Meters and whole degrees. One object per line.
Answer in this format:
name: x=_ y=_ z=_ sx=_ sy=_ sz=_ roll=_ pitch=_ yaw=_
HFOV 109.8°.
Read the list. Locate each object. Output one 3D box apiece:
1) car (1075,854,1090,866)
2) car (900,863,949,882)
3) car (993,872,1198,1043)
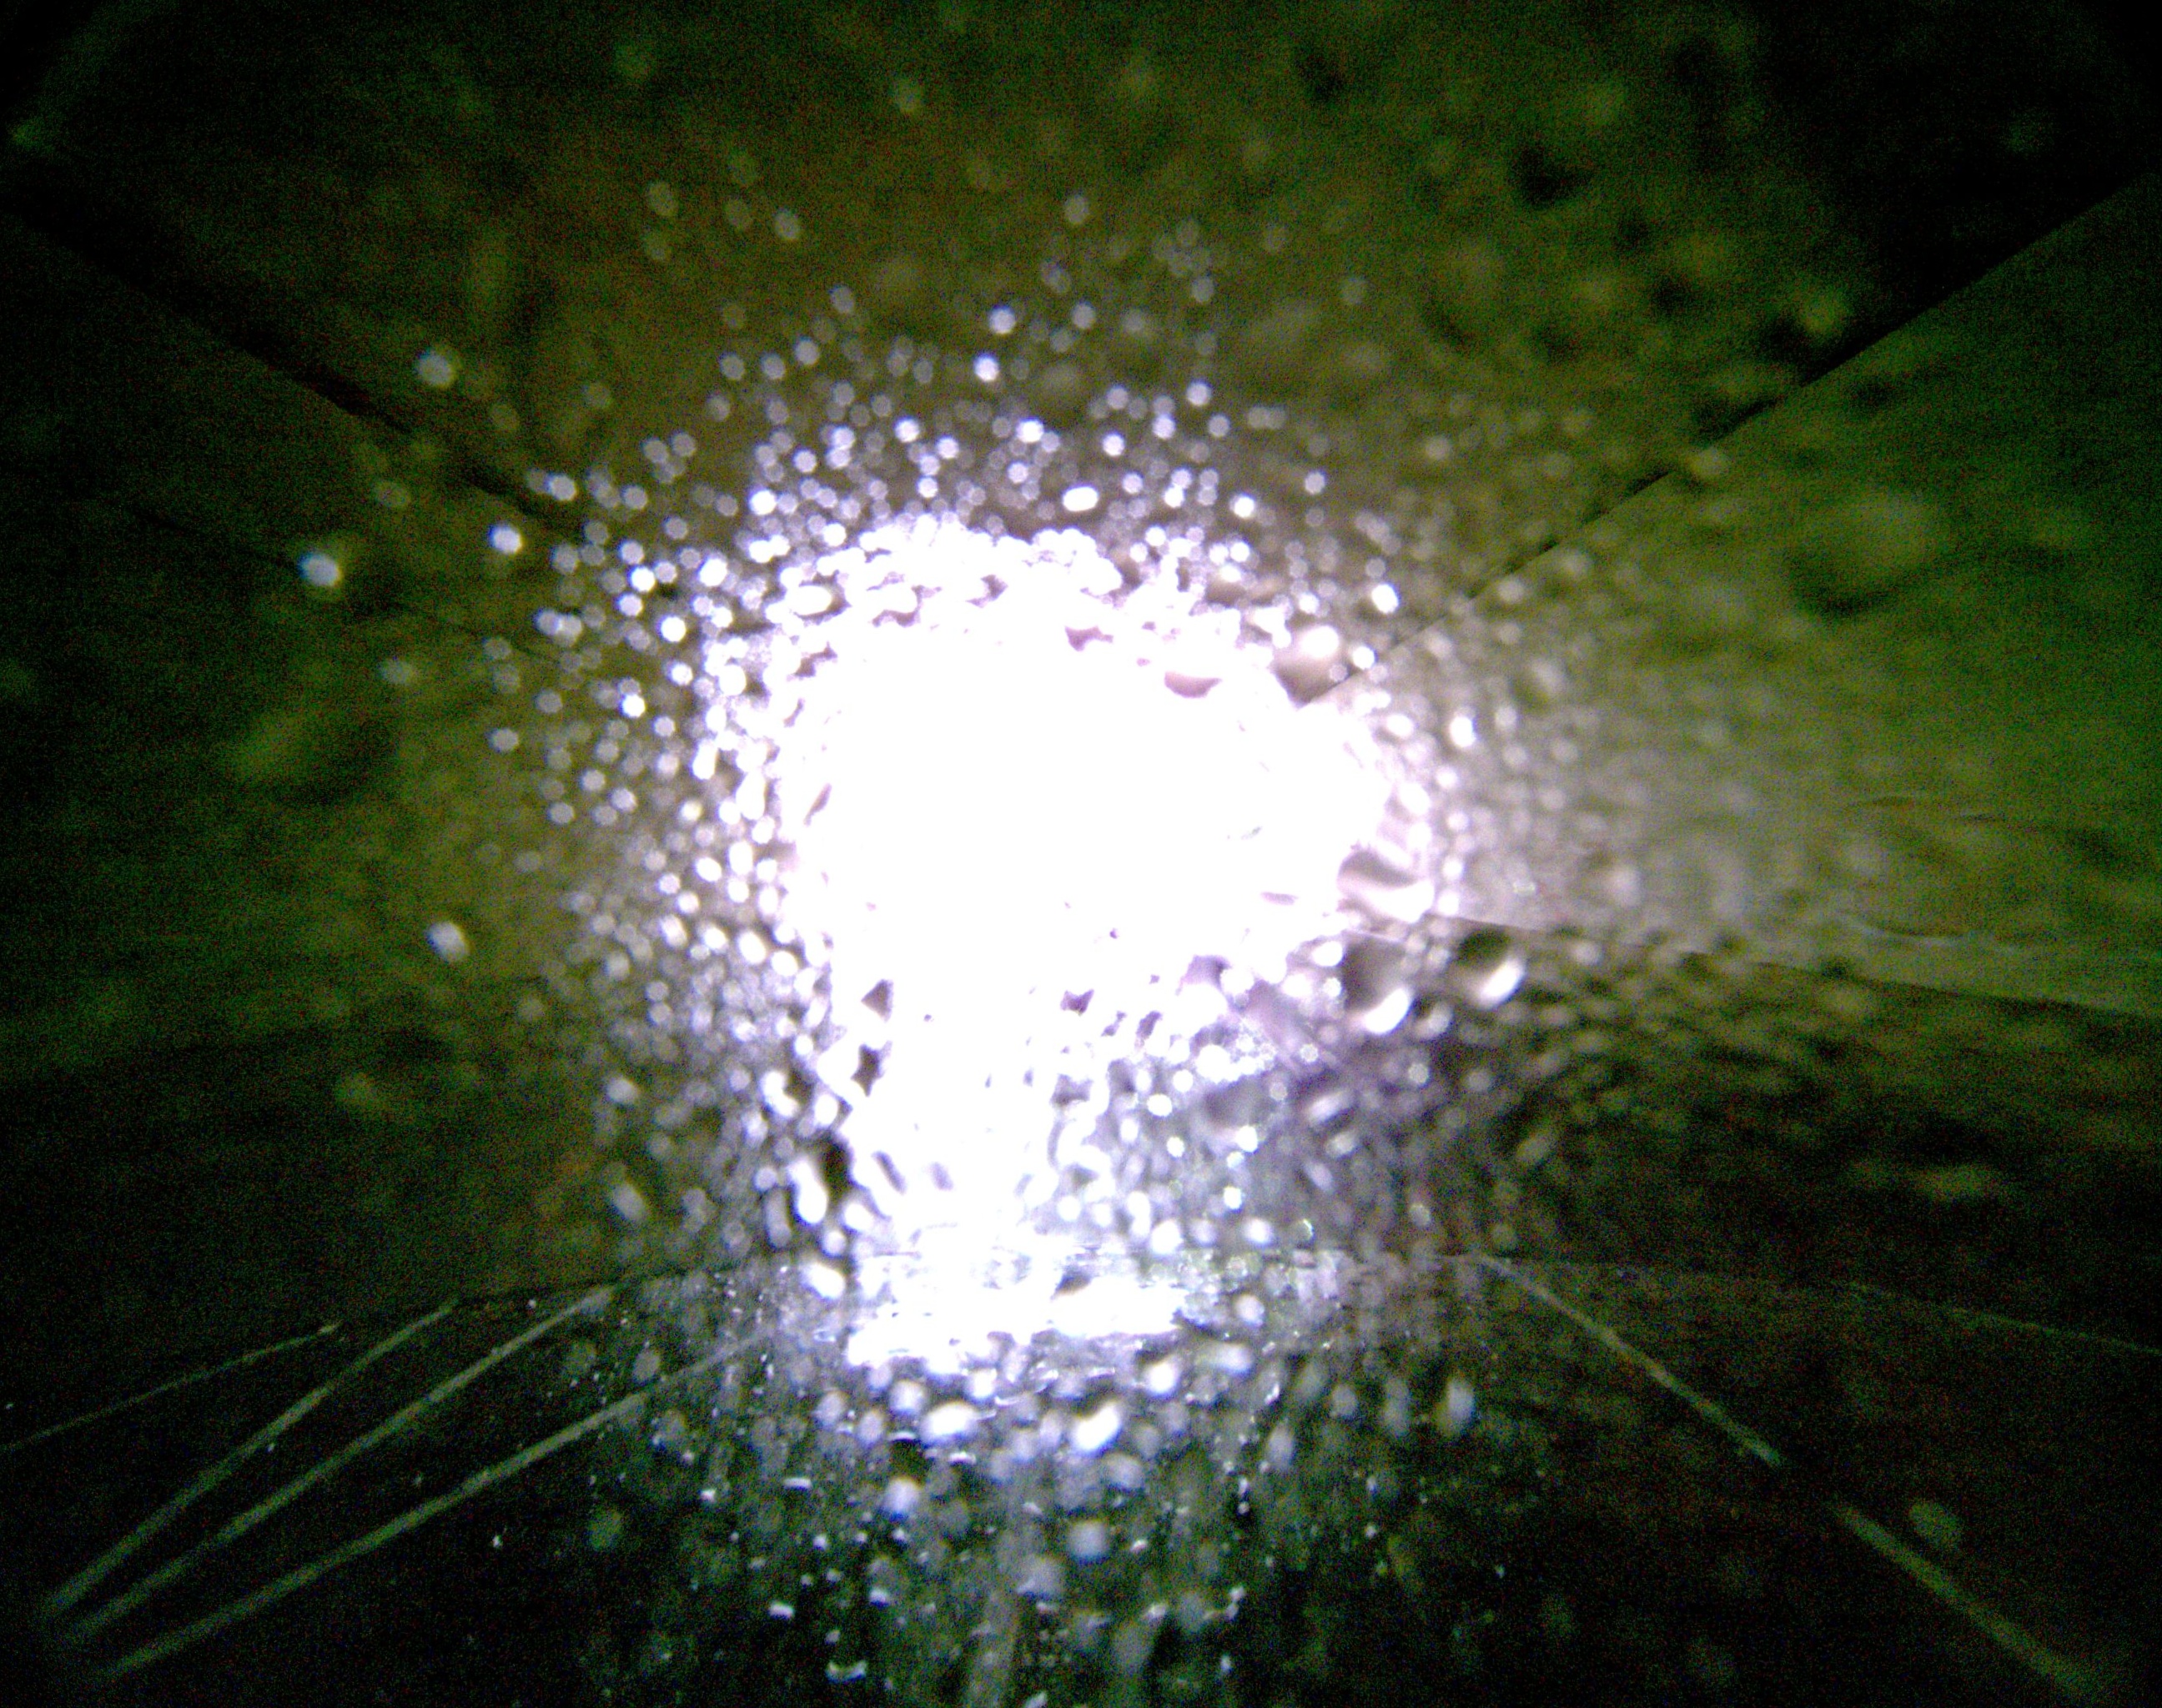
car: x=0.161 y=0.791 z=96.382 sx=1.695 sy=1.478 sz=4.071 roll=-2 pitch=0 yaw=-4
car: x=-13.983 y=1.654 z=67.803 sx=3.863 sy=1.523 sz=1.715 roll=-3 pitch=0 yaw=-34
car: x=0.066 y=0.970 z=9.003 sx=1.767 sy=1.315 sz=4.548 roll=-3 pitch=0 yaw=-2
